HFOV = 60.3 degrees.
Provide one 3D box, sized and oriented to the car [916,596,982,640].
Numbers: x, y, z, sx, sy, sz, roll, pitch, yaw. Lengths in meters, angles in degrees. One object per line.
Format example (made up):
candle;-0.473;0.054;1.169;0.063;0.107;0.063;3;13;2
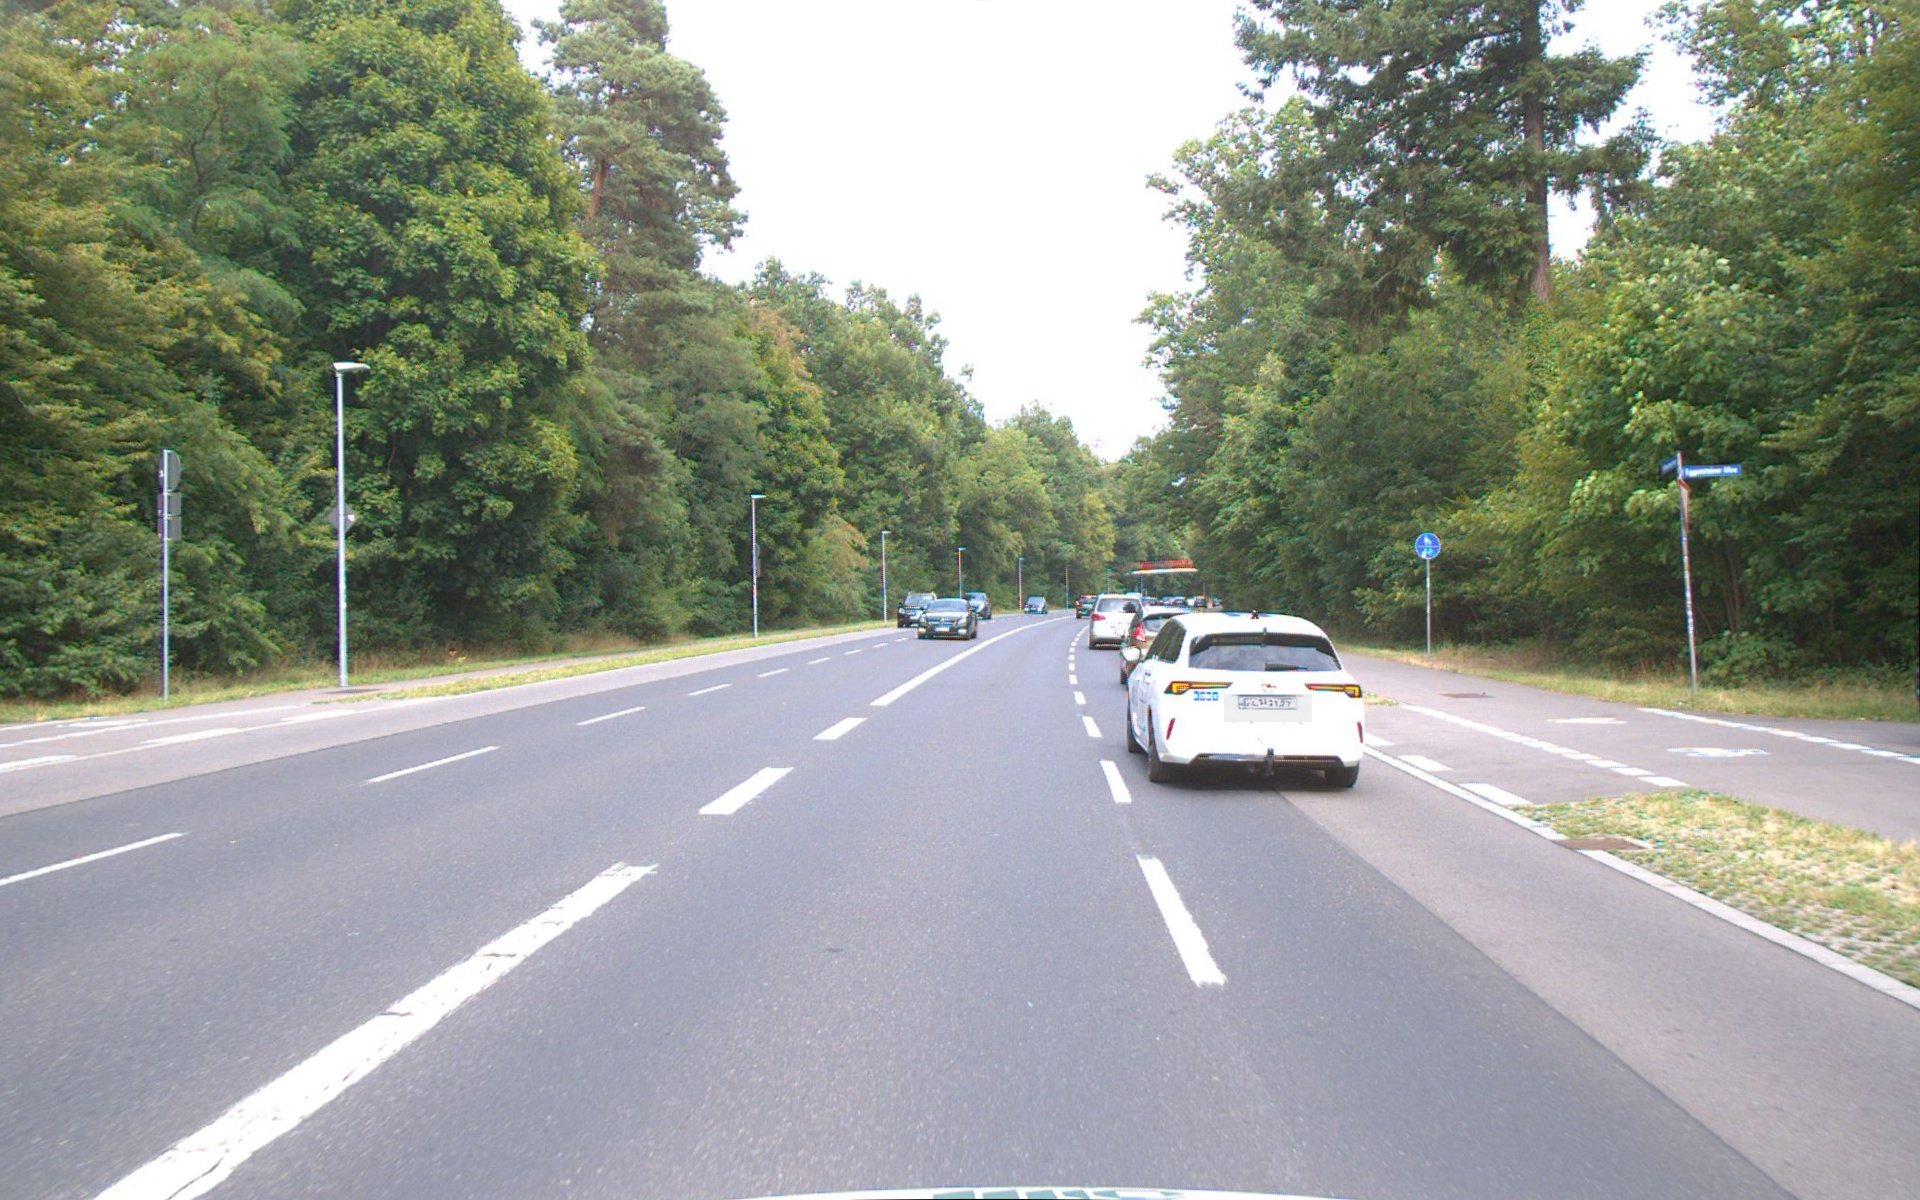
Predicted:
car;-0.351;0.645;59.077;1.952;1.460;4.723;1;-1;4

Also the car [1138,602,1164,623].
car;17.686;1.183;153.126;1.951;1.814;4.003;2;-1;12

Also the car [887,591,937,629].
car;-2.207;0.503;77.538;1.883;1.684;4.471;1;-1;4

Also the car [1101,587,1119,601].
car;18.683;-0.721;205.931;1.951;1.590;4.607;2;-1;9

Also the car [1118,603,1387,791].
car;2.506;0.766;15.213;1.798;1.435;4.492;1;0;2

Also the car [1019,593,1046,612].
car;6.353;0.248;143.957;1.856;1.509;4.542;2;-1;8

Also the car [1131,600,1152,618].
car;19.577;1.006;178.646;1.951;1.814;4.003;2;-1;10

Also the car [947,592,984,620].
car;0.388;0.379;105.420;1.951;1.645;4.666;2;-1;5

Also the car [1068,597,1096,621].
car;8.784;0.636;119.236;1.693;1.615;4.003;2;-1;8

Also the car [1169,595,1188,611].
car;26.773;0.404;202.290;1.951;1.814;4.003;2;-1;12

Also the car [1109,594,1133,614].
car;15.774;0.361;161.715;1.951;1.814;4.003;2;-1;10

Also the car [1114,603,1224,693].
car;3.687;0.832;29.723;1.601;1.445;4.001;2;-1;3

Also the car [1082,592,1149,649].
car;4.864;0.650;52.130;1.952;1.635;4.002;2;-1;4

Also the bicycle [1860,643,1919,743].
bicycle;10.642;0.963;17.258;2.130;1.011;0.711;0;0;-1

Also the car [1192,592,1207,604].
car;33.672;-0.280;232.601;1.951;1.736;4.003;0;0;11
